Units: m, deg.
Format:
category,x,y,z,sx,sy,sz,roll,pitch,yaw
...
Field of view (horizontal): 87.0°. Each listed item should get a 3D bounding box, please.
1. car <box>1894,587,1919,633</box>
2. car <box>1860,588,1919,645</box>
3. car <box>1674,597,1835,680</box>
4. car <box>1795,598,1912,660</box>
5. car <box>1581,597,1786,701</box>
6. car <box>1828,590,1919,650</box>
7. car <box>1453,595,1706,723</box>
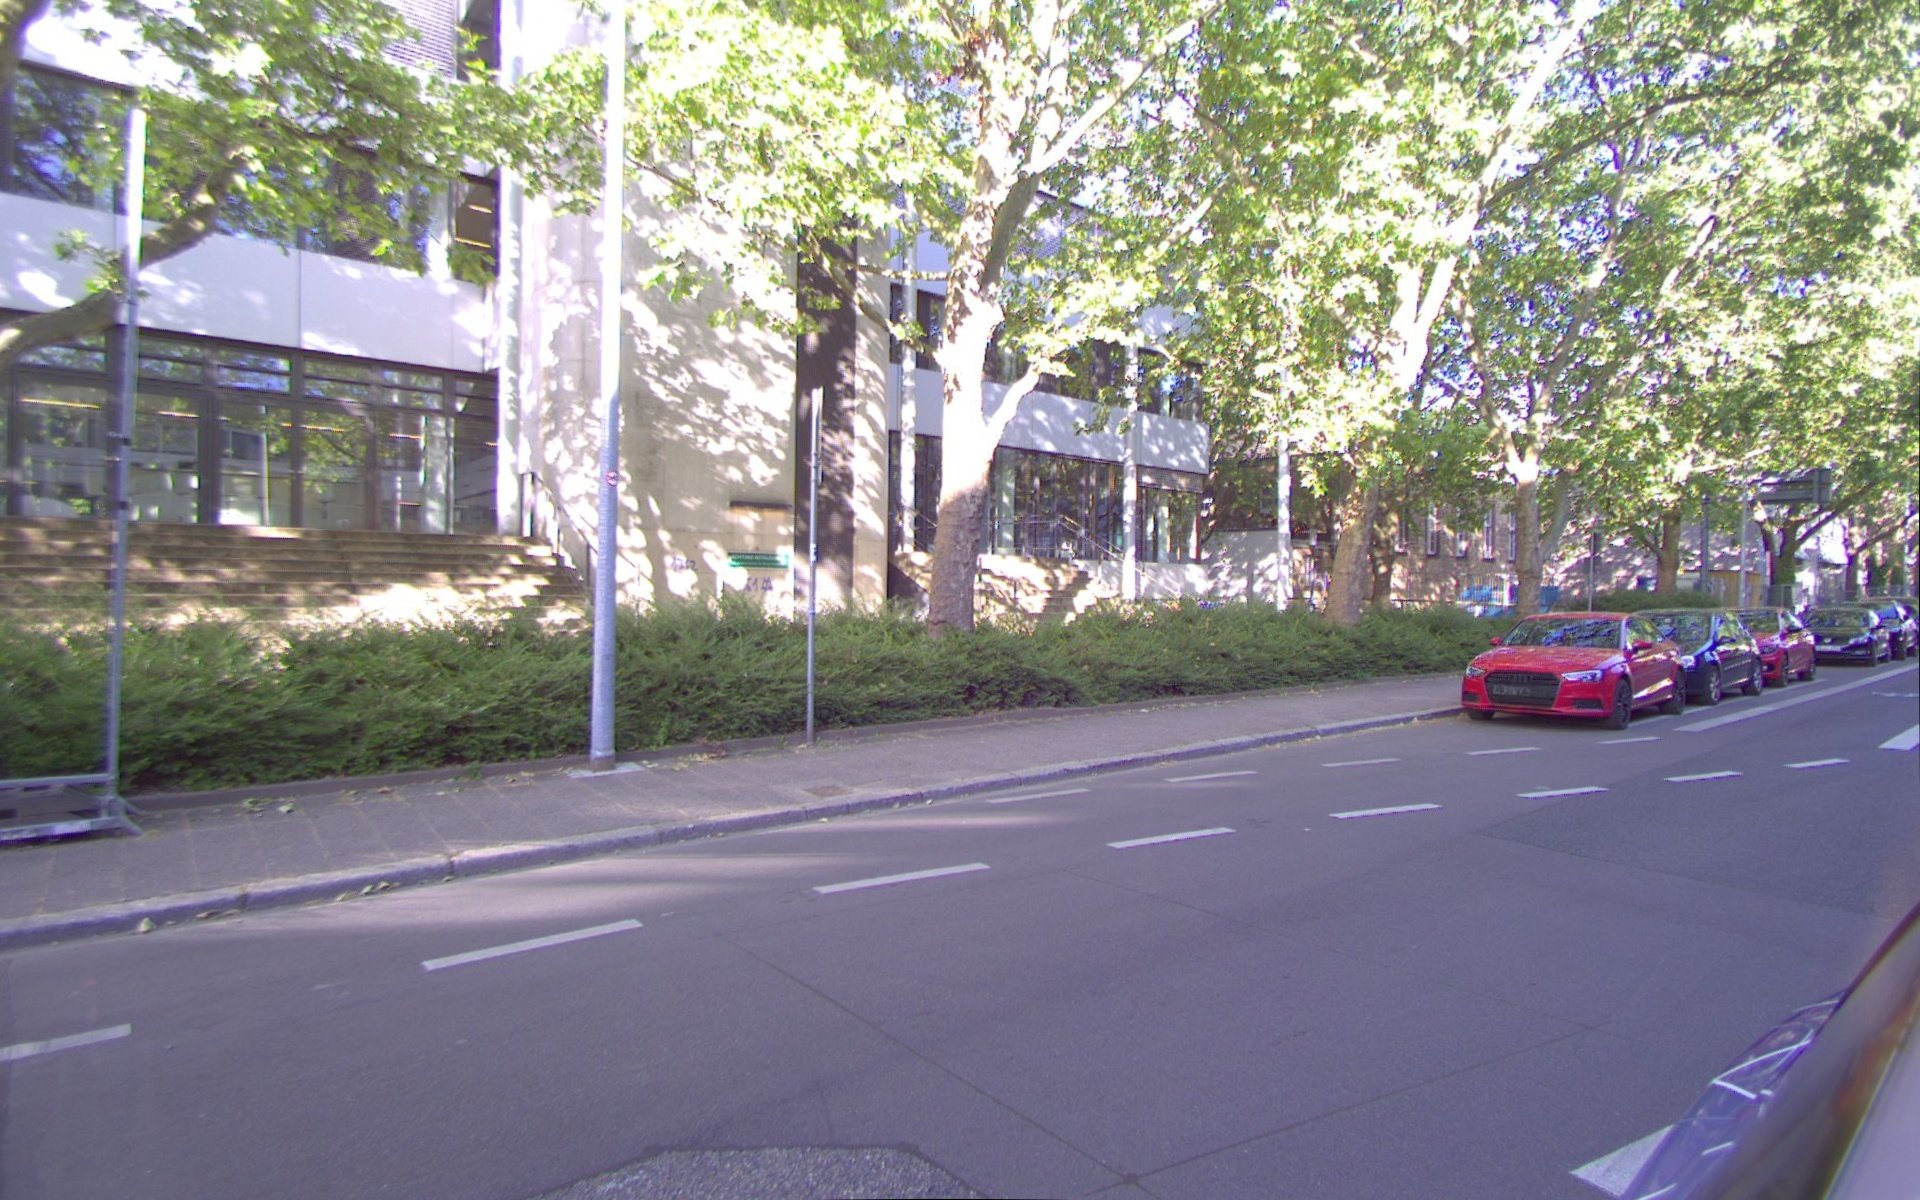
category,x,y,z,sx,sy,sz,roll,pitch,yaw
car,35.734,0.368,37.076,4.004,1.638,1.797,0,1,-41
car,31.076,0.487,33.055,4.188,1.747,1.997,-1,0,-41
car,15.775,0.679,20.022,3.930,1.456,1.789,0,1,-41
car,22.977,0.686,25.996,3.930,1.456,1.744,0,1,-41
car,11.913,0.698,16.587,3.929,1.475,1.812,0,1,-40
car,26.641,0.530,29.194,4.158,1.601,1.847,0,1,-41
car,8.335,0.667,13.480,4.101,1.443,1.773,0,-1,-42
